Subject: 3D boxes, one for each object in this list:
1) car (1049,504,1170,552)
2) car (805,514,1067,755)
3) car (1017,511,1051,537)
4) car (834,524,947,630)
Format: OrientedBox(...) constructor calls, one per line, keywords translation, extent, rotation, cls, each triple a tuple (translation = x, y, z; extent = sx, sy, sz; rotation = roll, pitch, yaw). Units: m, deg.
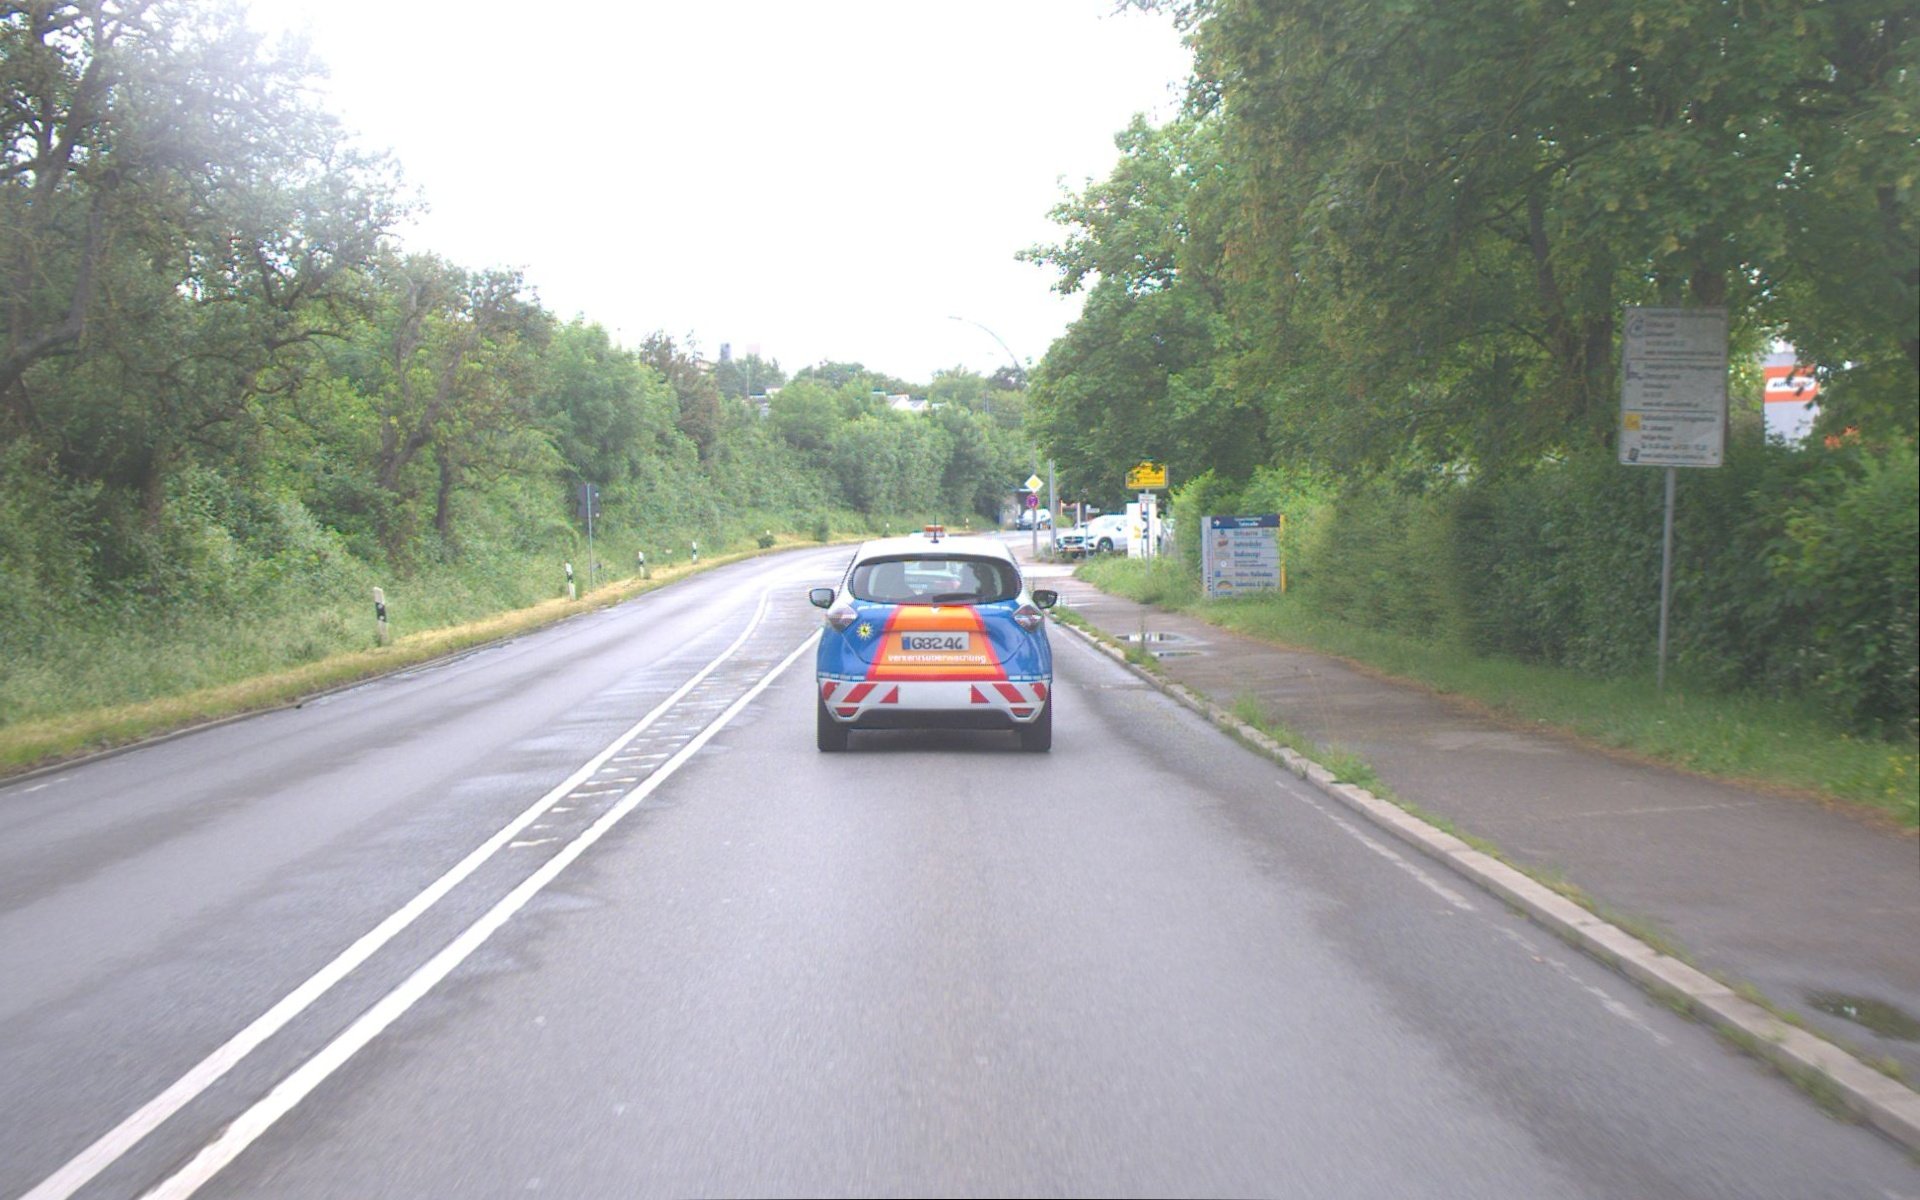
OrientedBox(translation=(5.748, -2.747, 131.652), extent=(4.606, 1.745, 2.034), rotation=(0, 1, -45), cls="car")
OrientedBox(translation=(-0.200, 0.215, 26.118), extent=(1.806, 1.662, 3.856), rotation=(1, 1, -1), cls="car")
OrientedBox(translation=(5.321, -5.422, 245.626), extent=(1.695, 1.784, 3.854), rotation=(1, 1, 12), cls="car")
OrientedBox(translation=(-1.075, -0.375, 54.373), extent=(1.694, 1.590, 3.856), rotation=(1, 1, 0), cls="car")
